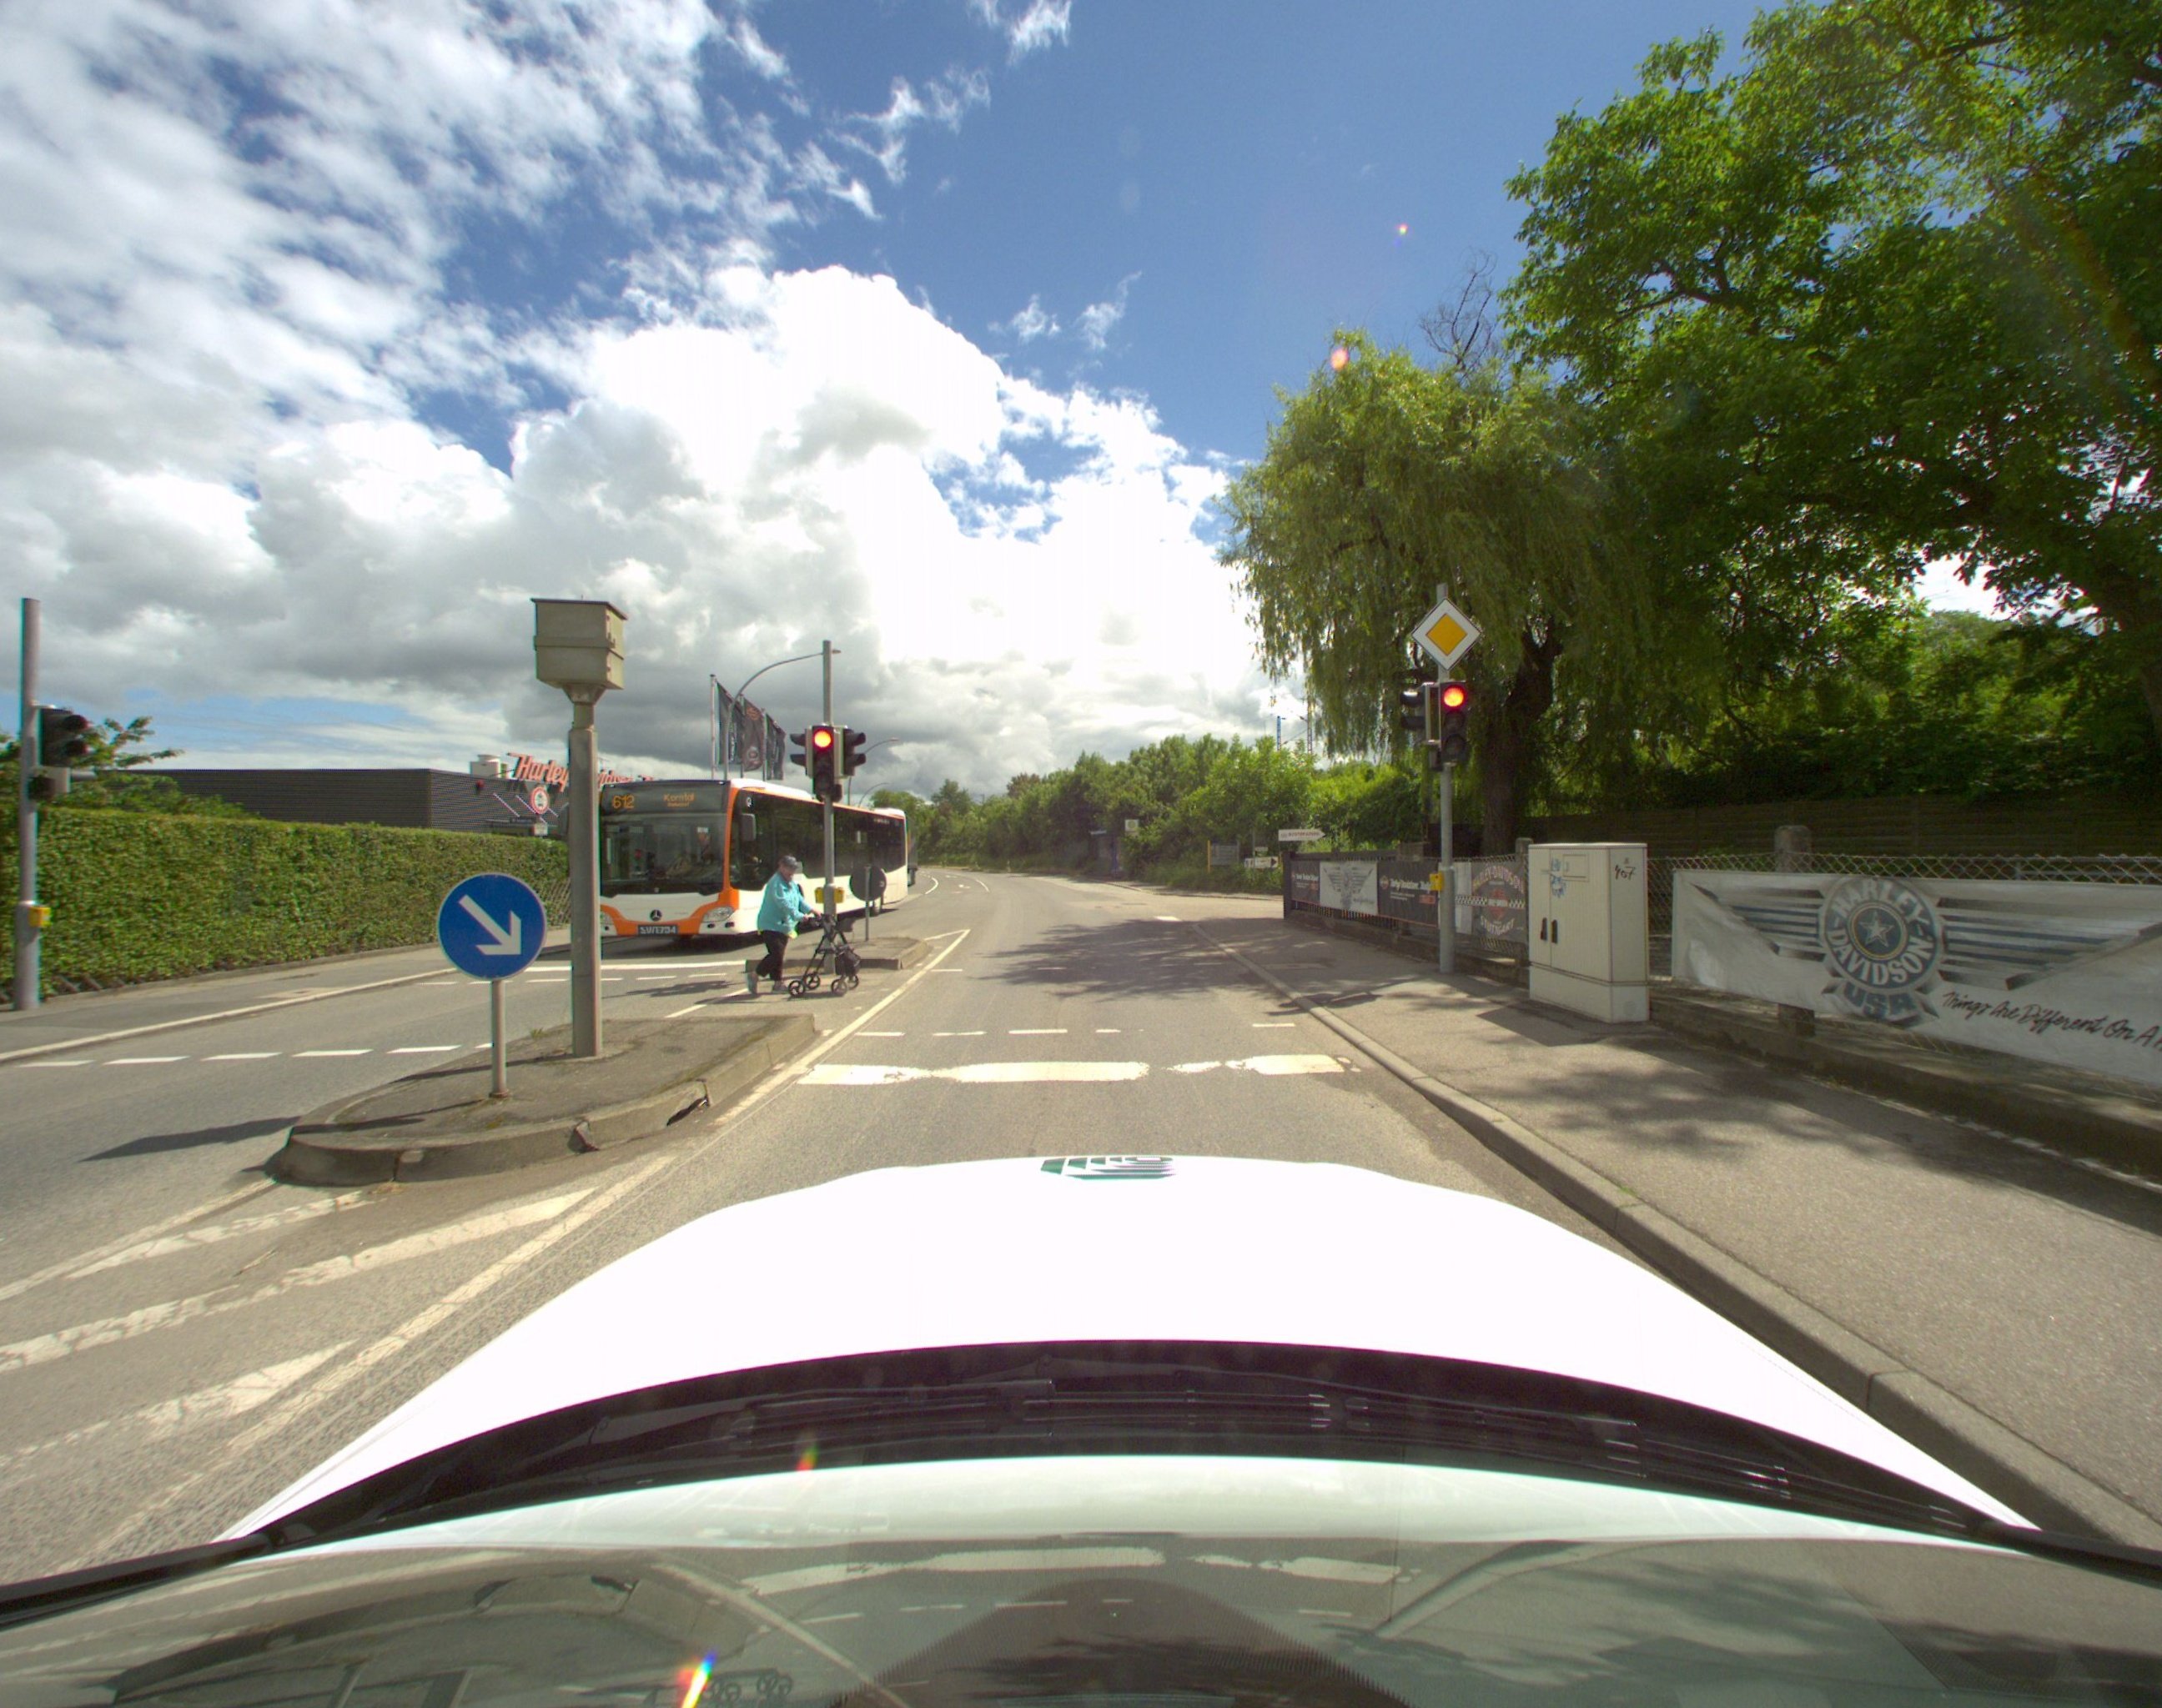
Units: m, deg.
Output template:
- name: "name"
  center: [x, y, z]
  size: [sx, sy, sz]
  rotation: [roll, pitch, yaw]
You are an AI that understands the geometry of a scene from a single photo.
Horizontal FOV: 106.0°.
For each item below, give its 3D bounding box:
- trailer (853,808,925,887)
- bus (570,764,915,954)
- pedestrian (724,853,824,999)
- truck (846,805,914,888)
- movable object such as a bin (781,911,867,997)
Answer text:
- name: "trailer"
  center: [-11.308, -0.286, 49.448]
  size: [2.797, 4.053, 15.512]
  rotation: [0, 0, -8]
- name: "bus"
  center: [-6.807, 0.127, 19.470]
  size: [2.708, 3.031, 12.270]
  rotation: [-2, -1, 2]
- name: "pedestrian"
  center: [-3.372, 0.767, 9.009]
  size: [0.836, 1.543, 0.733]
  rotation: [0, -1, -2]
- name: "truck"
  center: [-10.440, -0.345, 42.932]
  size: [2.797, 4.053, 6.483]
  rotation: [0, -1, -8]
- name: "movable object such as a bin"
  center: [-2.825, 1.090, 9.021]
  size: [0.744, 0.871, 0.670]
  rotation: [0, -1, -2]
